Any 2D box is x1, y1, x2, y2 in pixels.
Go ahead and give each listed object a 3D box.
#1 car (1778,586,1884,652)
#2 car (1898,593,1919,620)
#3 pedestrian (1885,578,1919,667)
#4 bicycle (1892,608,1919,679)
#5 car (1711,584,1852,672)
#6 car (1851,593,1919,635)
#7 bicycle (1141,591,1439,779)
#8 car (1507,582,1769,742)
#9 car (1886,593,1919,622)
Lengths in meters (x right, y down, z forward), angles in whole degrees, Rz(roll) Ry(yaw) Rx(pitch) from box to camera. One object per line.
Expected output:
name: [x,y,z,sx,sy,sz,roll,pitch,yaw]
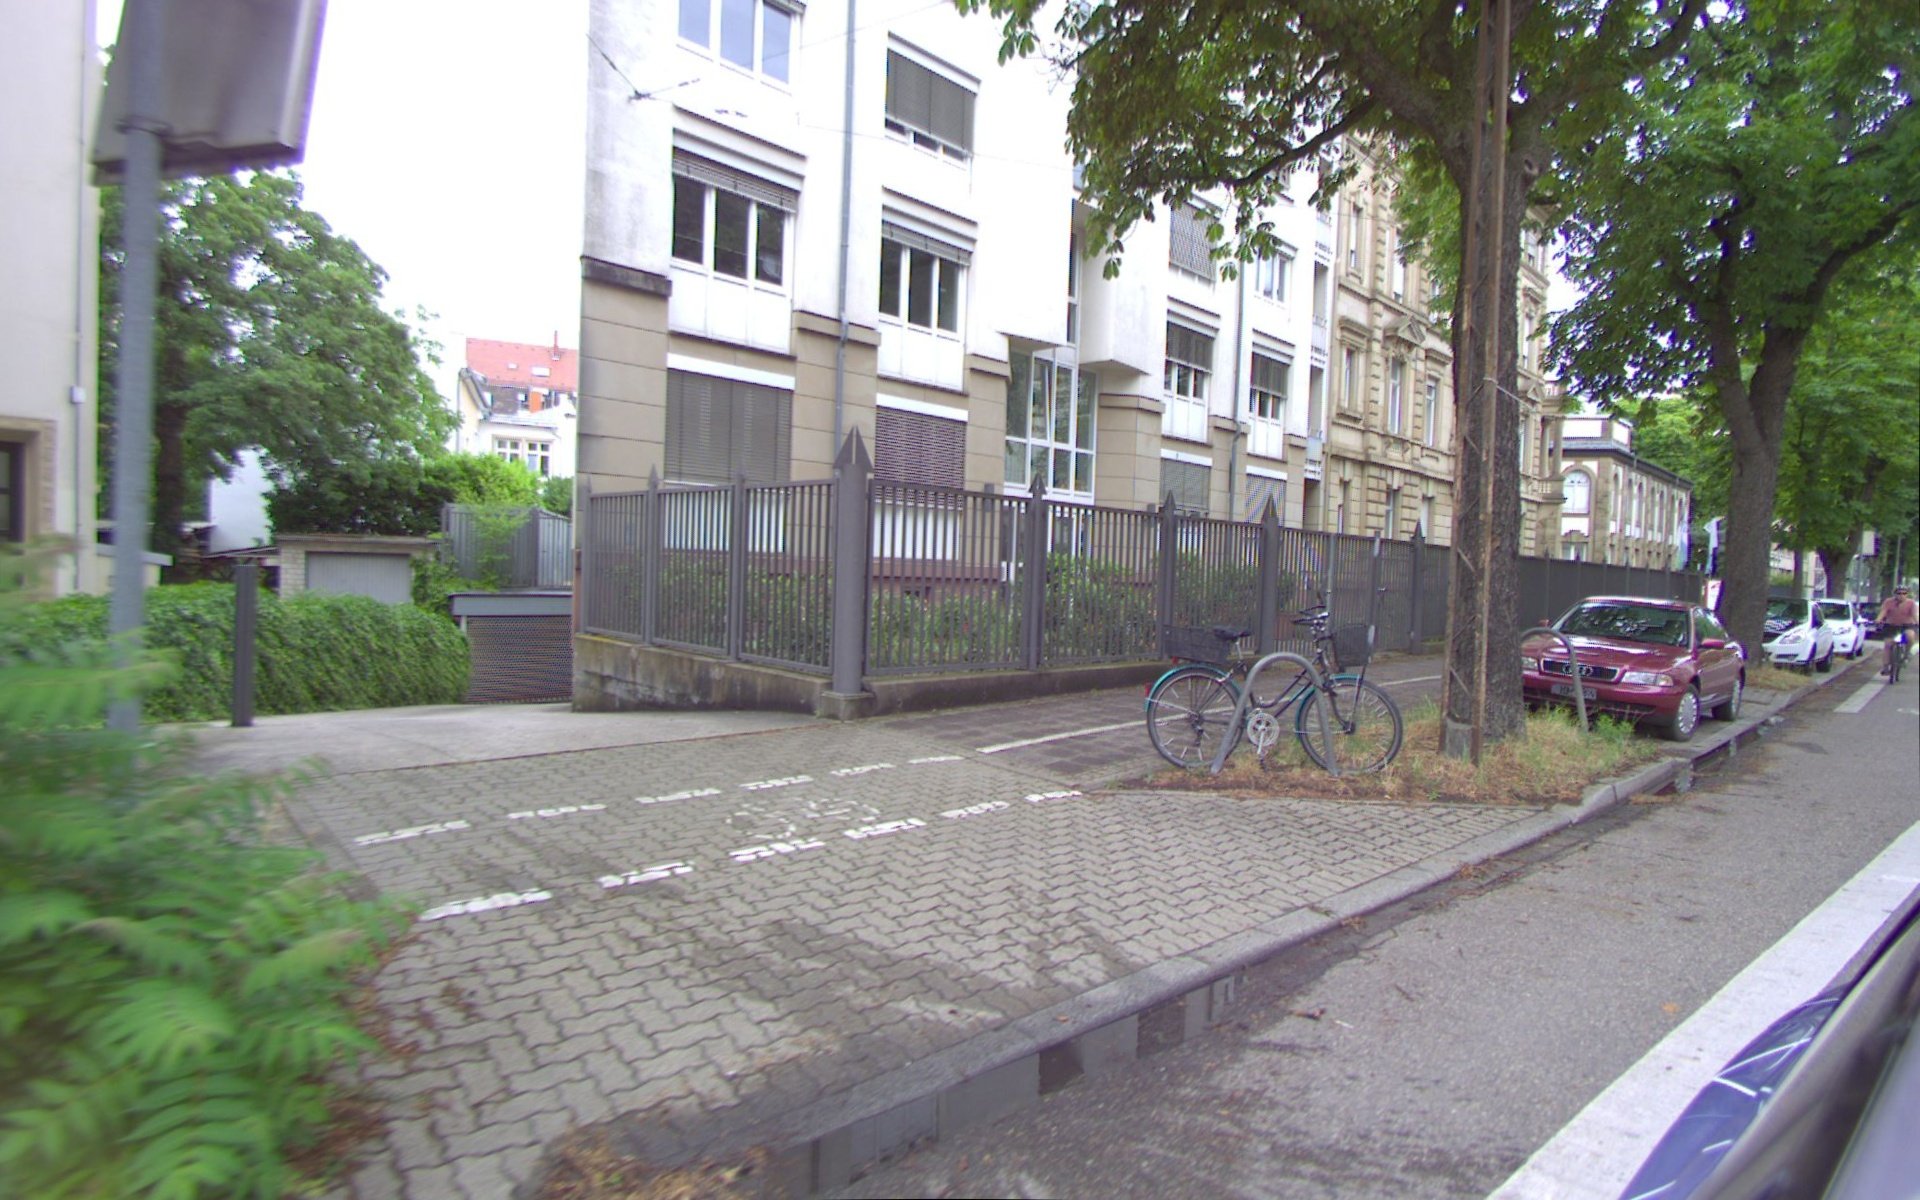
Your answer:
car: [22.148,0.431,25.693,3.702,1.453,1.630,0,5,-44]
car: [56.046,0.405,59.108,3.773,1.442,1.604,0,5,-44]
pedestrian: [17.387,0.403,18.447,0.693,1.569,0.683,0,2,-43]
bicycle: [17.490,0.777,18.570,1.678,1.219,0.413,0,2,-44]
car: [16.263,0.492,19.985,3.713,1.453,1.605,0,4,-43]
car: [35.203,0.505,38.501,3.773,1.386,1.604,0,5,-44]
bicycle: [2.219,0.562,6.932,1.869,1.213,0.433,1,2,2]
car: [7.929,0.581,11.674,4.157,1.415,1.604,0,5,-44]
car: [50.824,0.406,54.120,3.773,1.386,1.604,0,5,-44]
